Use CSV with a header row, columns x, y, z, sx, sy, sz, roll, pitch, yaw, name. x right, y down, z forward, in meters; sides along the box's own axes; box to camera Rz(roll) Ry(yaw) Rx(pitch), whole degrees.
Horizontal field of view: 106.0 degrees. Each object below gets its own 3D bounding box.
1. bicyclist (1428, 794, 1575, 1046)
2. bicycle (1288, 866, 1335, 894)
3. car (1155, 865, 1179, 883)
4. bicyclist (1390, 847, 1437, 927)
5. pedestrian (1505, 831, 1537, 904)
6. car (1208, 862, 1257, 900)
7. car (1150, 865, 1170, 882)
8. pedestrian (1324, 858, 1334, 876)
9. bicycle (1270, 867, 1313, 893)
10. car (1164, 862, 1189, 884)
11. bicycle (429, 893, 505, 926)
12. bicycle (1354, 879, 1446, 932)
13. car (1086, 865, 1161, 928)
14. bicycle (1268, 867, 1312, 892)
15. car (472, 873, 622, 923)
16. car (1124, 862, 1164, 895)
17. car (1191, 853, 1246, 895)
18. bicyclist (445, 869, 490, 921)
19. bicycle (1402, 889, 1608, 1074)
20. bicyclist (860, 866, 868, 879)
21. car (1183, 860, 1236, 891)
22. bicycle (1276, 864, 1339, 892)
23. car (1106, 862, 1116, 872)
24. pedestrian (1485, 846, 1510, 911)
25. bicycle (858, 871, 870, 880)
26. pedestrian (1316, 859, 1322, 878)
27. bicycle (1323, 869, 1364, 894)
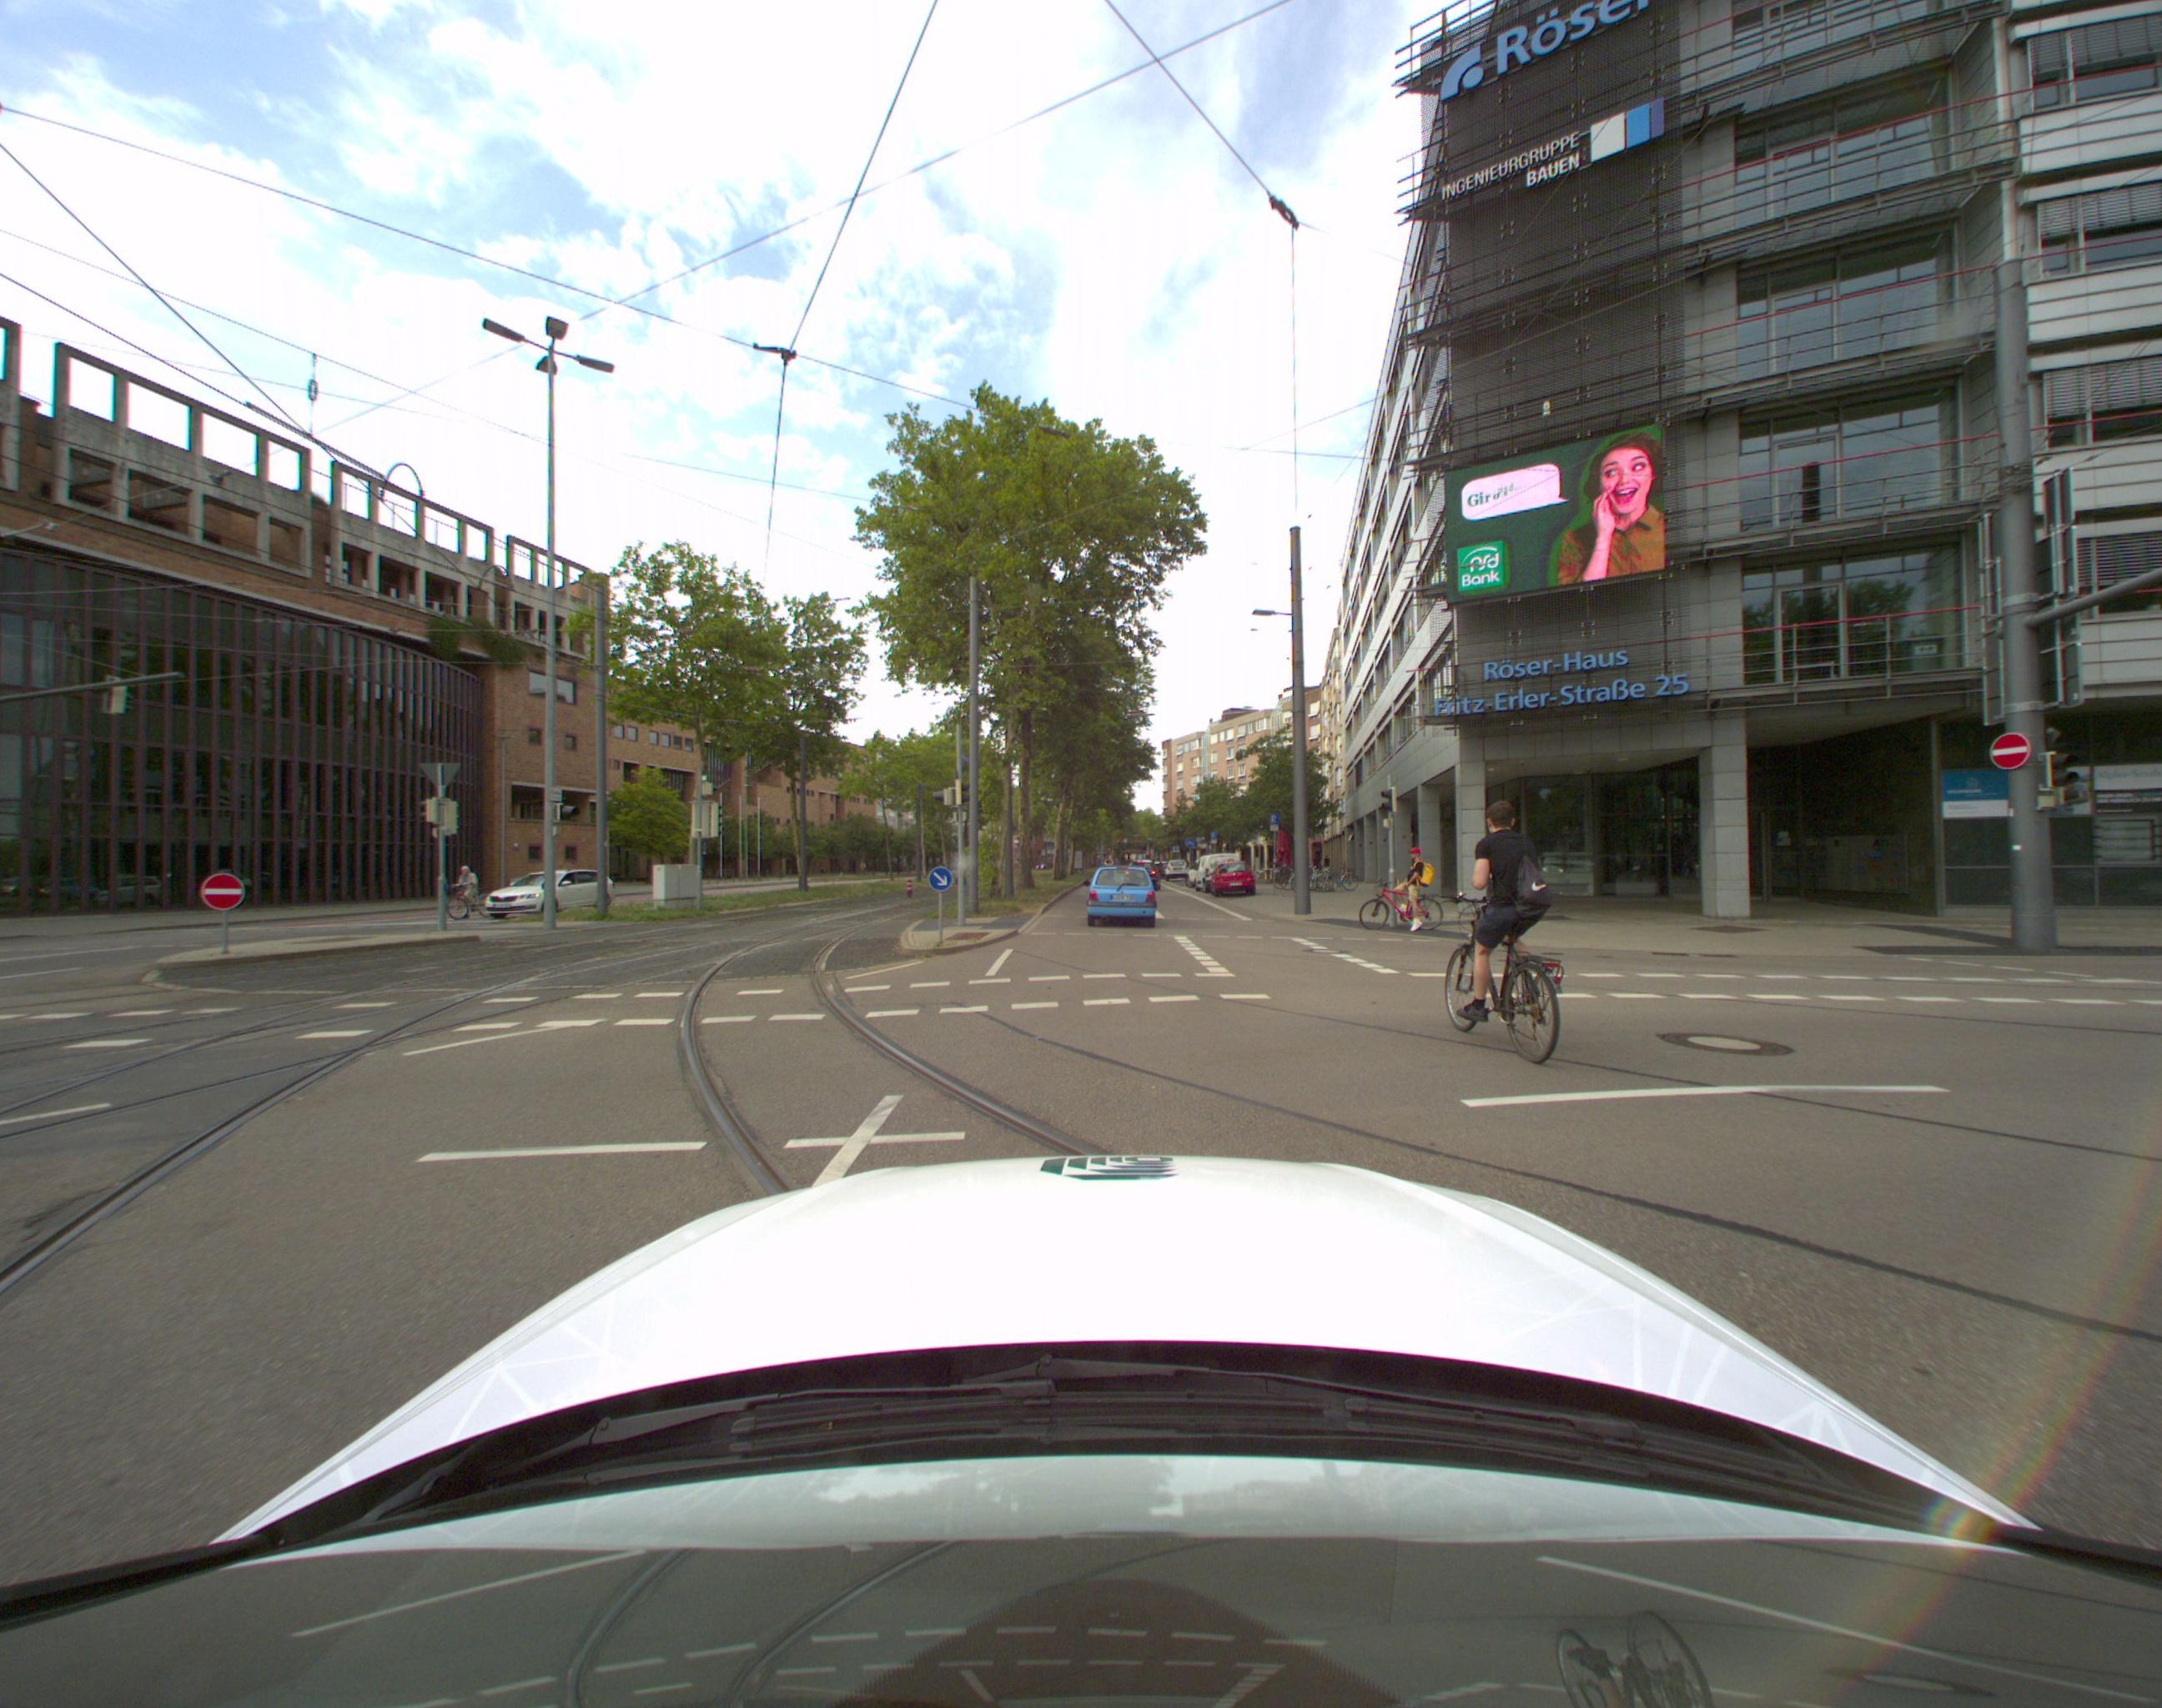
x,y,z,sx,sy,sz,roll,pitch,yaw,name
3.182,0.469,6.255,0.587,1.768,1.035,-1,-1,2,bicyclist
9.709,1.097,34.286,1.846,1.139,0.492,-1,-1,-5,bicycle
7.655,1.769,72.796,1.709,1.519,4.205,-2,-1,1,car
7.478,0.736,18.349,0.905,1.764,0.723,-1,-1,20,bicyclist
12.469,0.372,23.093,0.598,2.013,0.677,-1,2,8,pedestrian
6.404,1.104,34.831,1.713,1.433,4.260,-3,-1,6,car
7.555,1.874,78.175,1.732,1.519,4.405,-1,-1,3,car
20.910,1.080,68.622,0.705,1.555,0.802,-1,-1,15,pedestrian
9.973,1.231,38.623,1.897,1.197,0.481,-1,-1,9,bicycle
7.453,1.451,63.745,1.852,1.653,4.169,-1,-1,5,car
-19.324,1.718,25.693,0.727,0.917,2.124,-1,-1,1,bicycle
7.203,1.160,18.443,1.883,1.139,0.730,-1,-1,20,bicycle
1.042,0.976,19.966,1.634,1.386,3.845,0,-1,3,car
10.036,1.228,39.155,2.042,1.197,0.481,-1,-1,9,bicycle
-17.237,1.364,26.616,1.777,1.421,4.659,-1,-1,1,car
3.412,1.274,43.663,1.764,1.577,4.315,-2,-1,9,car
6.656,0.967,39.794,1.821,1.864,4.647,-2,-1,0,car
-19.314,1.279,25.662,0.720,1.609,0.901,-1,-1,1,bicyclist
3.193,0.881,6.390,0.592,1.139,2.092,-1,-1,3,bicycle
-26.433,2.246,99.212,0.661,1.591,0.985,0,-1,5,bicyclist
7.199,1.189,46.135,1.990,1.603,4.578,-3,-1,-3,car
10.226,1.068,36.822,2.622,1.258,0.655,0,-1,2,bicycle
5.993,2.616,160.878,1.924,1.926,4.958,-1,-1,2,car
11.241,0.648,21.968,0.549,1.726,0.498,-1,0,24,pedestrian
-26.421,2.630,99.256,0.665,1.084,2.096,0,-1,5,bicycle
20.084,1.228,68.741,0.508,1.555,0.475,-1,-1,15,pedestrian
10.910,1.136,33.847,1.554,0.987,0.422,-1,-1,-3,bicycle
